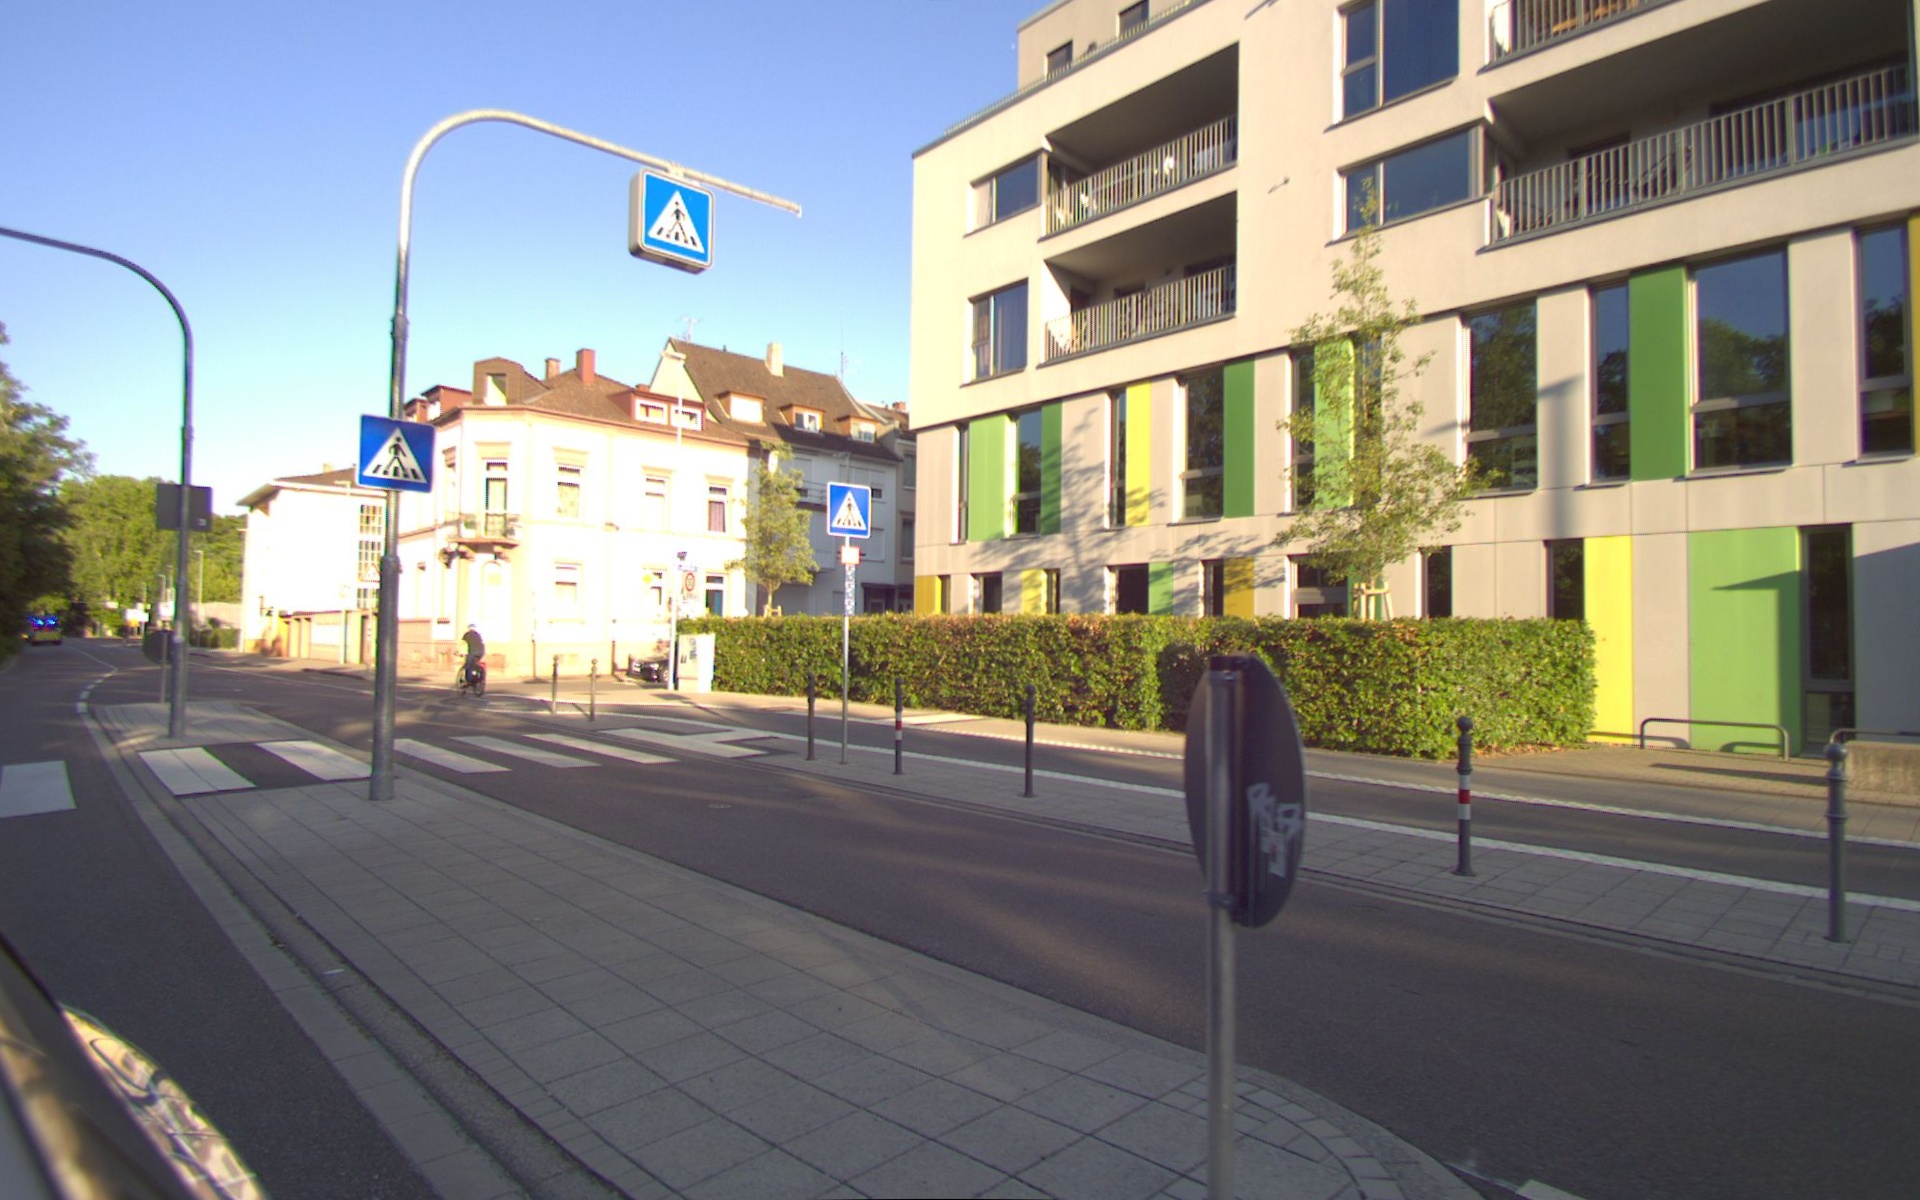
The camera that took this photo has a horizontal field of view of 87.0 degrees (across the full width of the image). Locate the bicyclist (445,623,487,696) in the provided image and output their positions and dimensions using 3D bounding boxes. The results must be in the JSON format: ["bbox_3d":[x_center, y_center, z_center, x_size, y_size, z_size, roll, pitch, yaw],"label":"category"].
[{"bbox_3d":[-11.519,1.380,23.598,0.619,1.657,0.758,3,-4,-43],"label":"bicyclist"}]

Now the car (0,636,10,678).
[{"bbox_3d":[-35.917,2.040,36.777,1.726,1.498,4.515,3,-4,-40],"label":"car"}]

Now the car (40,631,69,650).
[{"bbox_3d":[-96.274,4.318,107.666,2.196,2.029,4.896,3,-4,-42],"label":"car"}]

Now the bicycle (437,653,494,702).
[{"bbox_3d":[-11.538,1.787,23.599,0.626,1.086,1.885,3,-4,-43],"label":"bicycle"}]

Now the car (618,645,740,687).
[{"bbox_3d":[-10.307,2.411,37.258,3.861,1.449,1.905,3,-4,-45],"label":"car"}]
